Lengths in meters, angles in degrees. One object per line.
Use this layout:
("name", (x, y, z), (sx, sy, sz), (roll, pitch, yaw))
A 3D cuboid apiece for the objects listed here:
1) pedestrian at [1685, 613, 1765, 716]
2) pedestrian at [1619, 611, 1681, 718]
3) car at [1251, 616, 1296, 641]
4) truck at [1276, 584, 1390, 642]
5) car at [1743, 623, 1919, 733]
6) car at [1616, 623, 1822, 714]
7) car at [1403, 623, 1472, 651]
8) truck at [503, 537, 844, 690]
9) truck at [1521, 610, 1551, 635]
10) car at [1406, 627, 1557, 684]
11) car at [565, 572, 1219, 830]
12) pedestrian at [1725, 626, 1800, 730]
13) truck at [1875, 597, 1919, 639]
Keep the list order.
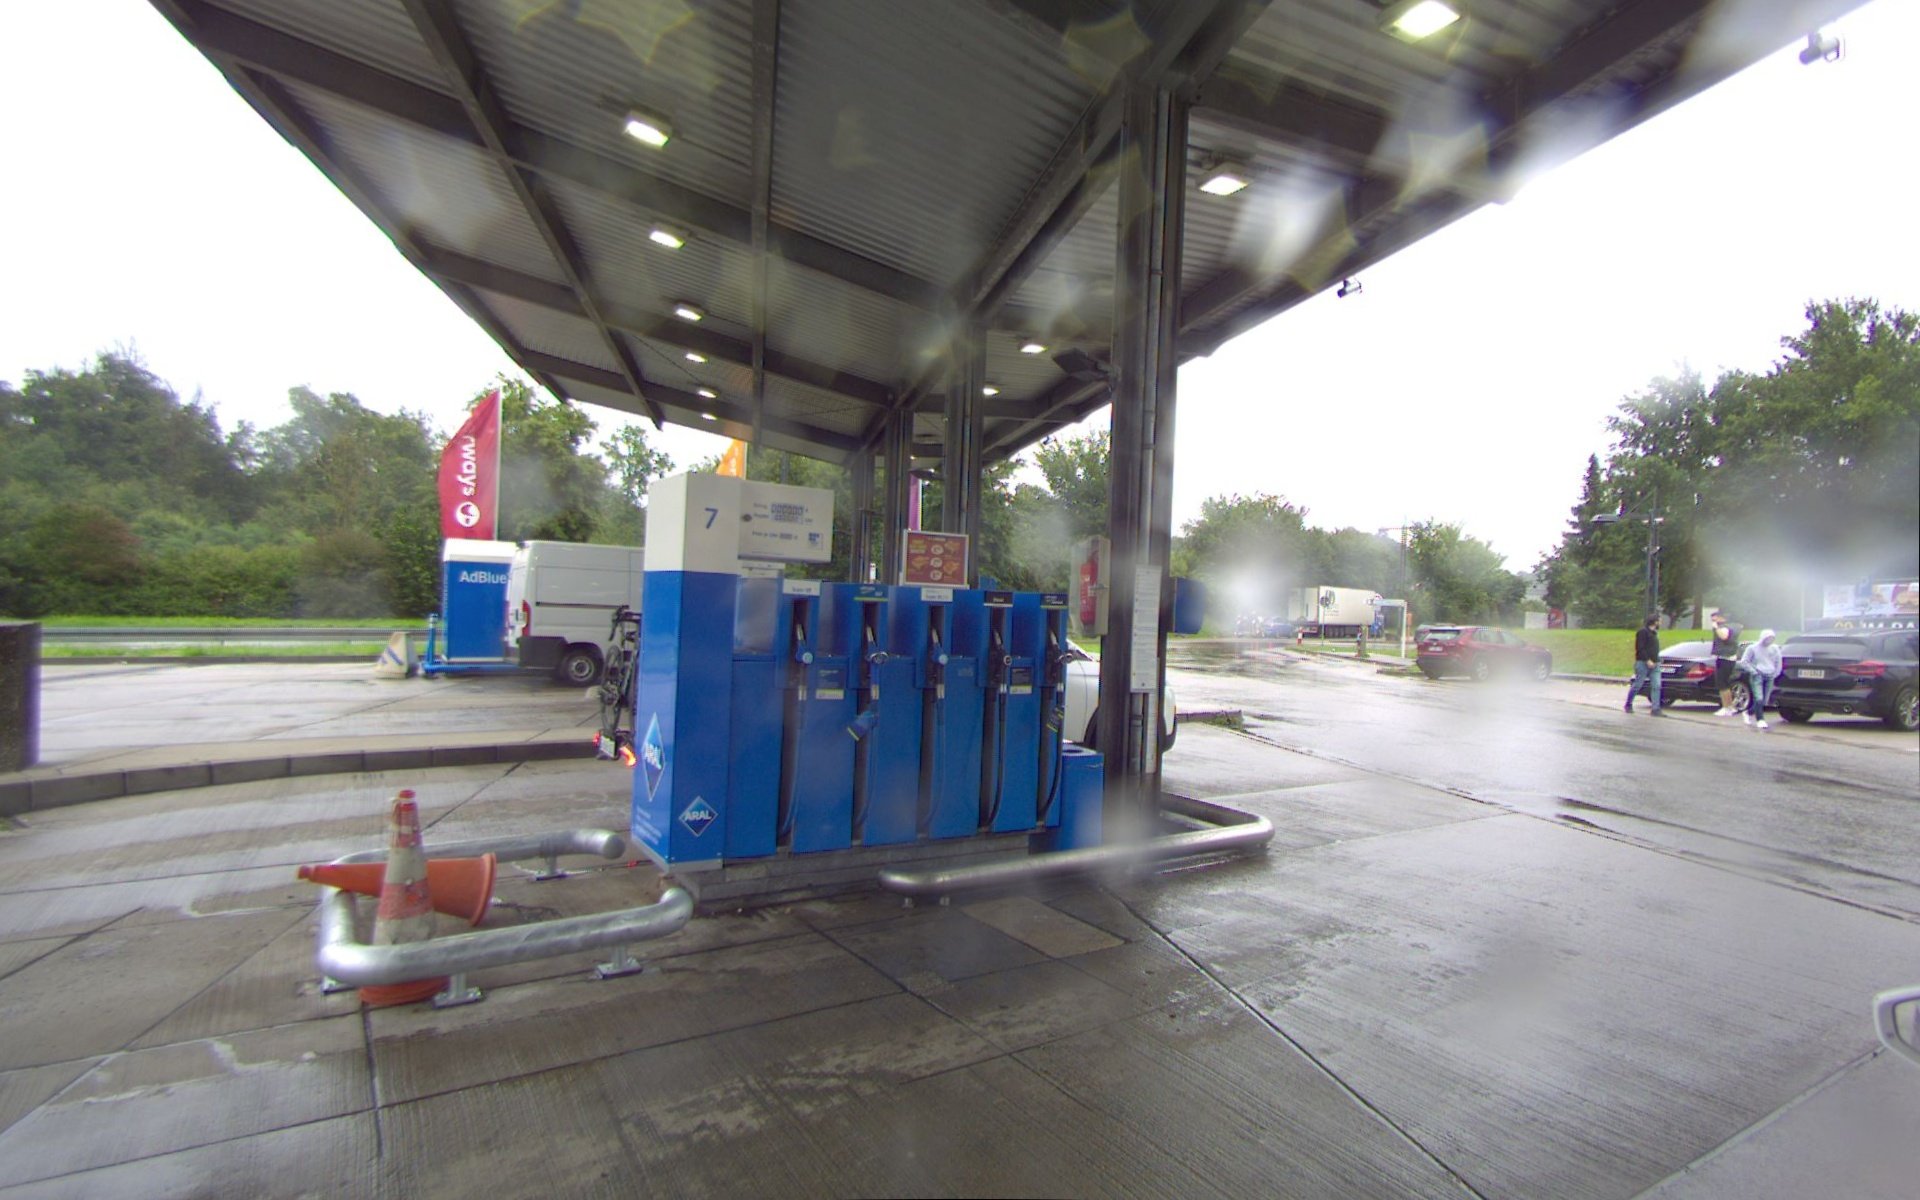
("pedestrian", (14.551, 1.213, 19.118), (0.936, 1.912, 0.703), (2, 0, -6))
("pedestrian", (12.729, 1.165, 18.554), (0.690, 1.912, 0.893), (2, 0, 20))
("car", (22.928, 2.061, 73.434), (1.787, 1.704, 3.934), (2, 0, 40))
("truck", (31.905, 1.184, 85.148), (3.498, 4.397, 16.922), (2, 0, 40))
("car", (16.194, 1.271, 17.465), (4.274, 1.734, 2.016), (1, -1, -18))
("car", (15.964, 1.357, 21.088), (4.293, 1.734, 2.007), (1, -2, -31))
("car", (31.793, 2.445, 66.848), (3.940, 1.700, 1.991), (2, -1, -21))
("truck", (-5.316, 0.293, 18.939), (5.793, 2.527, 2.221), (2, 0, -30))
("truck", (76.565, 2.991, 133.509), (2.446, 3.126, 7.327), (2, 0, 38))
("car", (16.099, 1.670, 30.999), (4.283, 1.666, 1.933), (1, -2, -25))
("car", (-0.404, 0.702, 8.457), (5.210, 1.629, 1.852), (2, 0, -30))
("pedestrian", (13.515, 1.286, 16.946), (0.690, 1.653, 0.954), (2, 0, 21))
("truck", (68.879, 1.321, 71.695), (5.285, 2.959, 2.191), (2, 0, -5))
